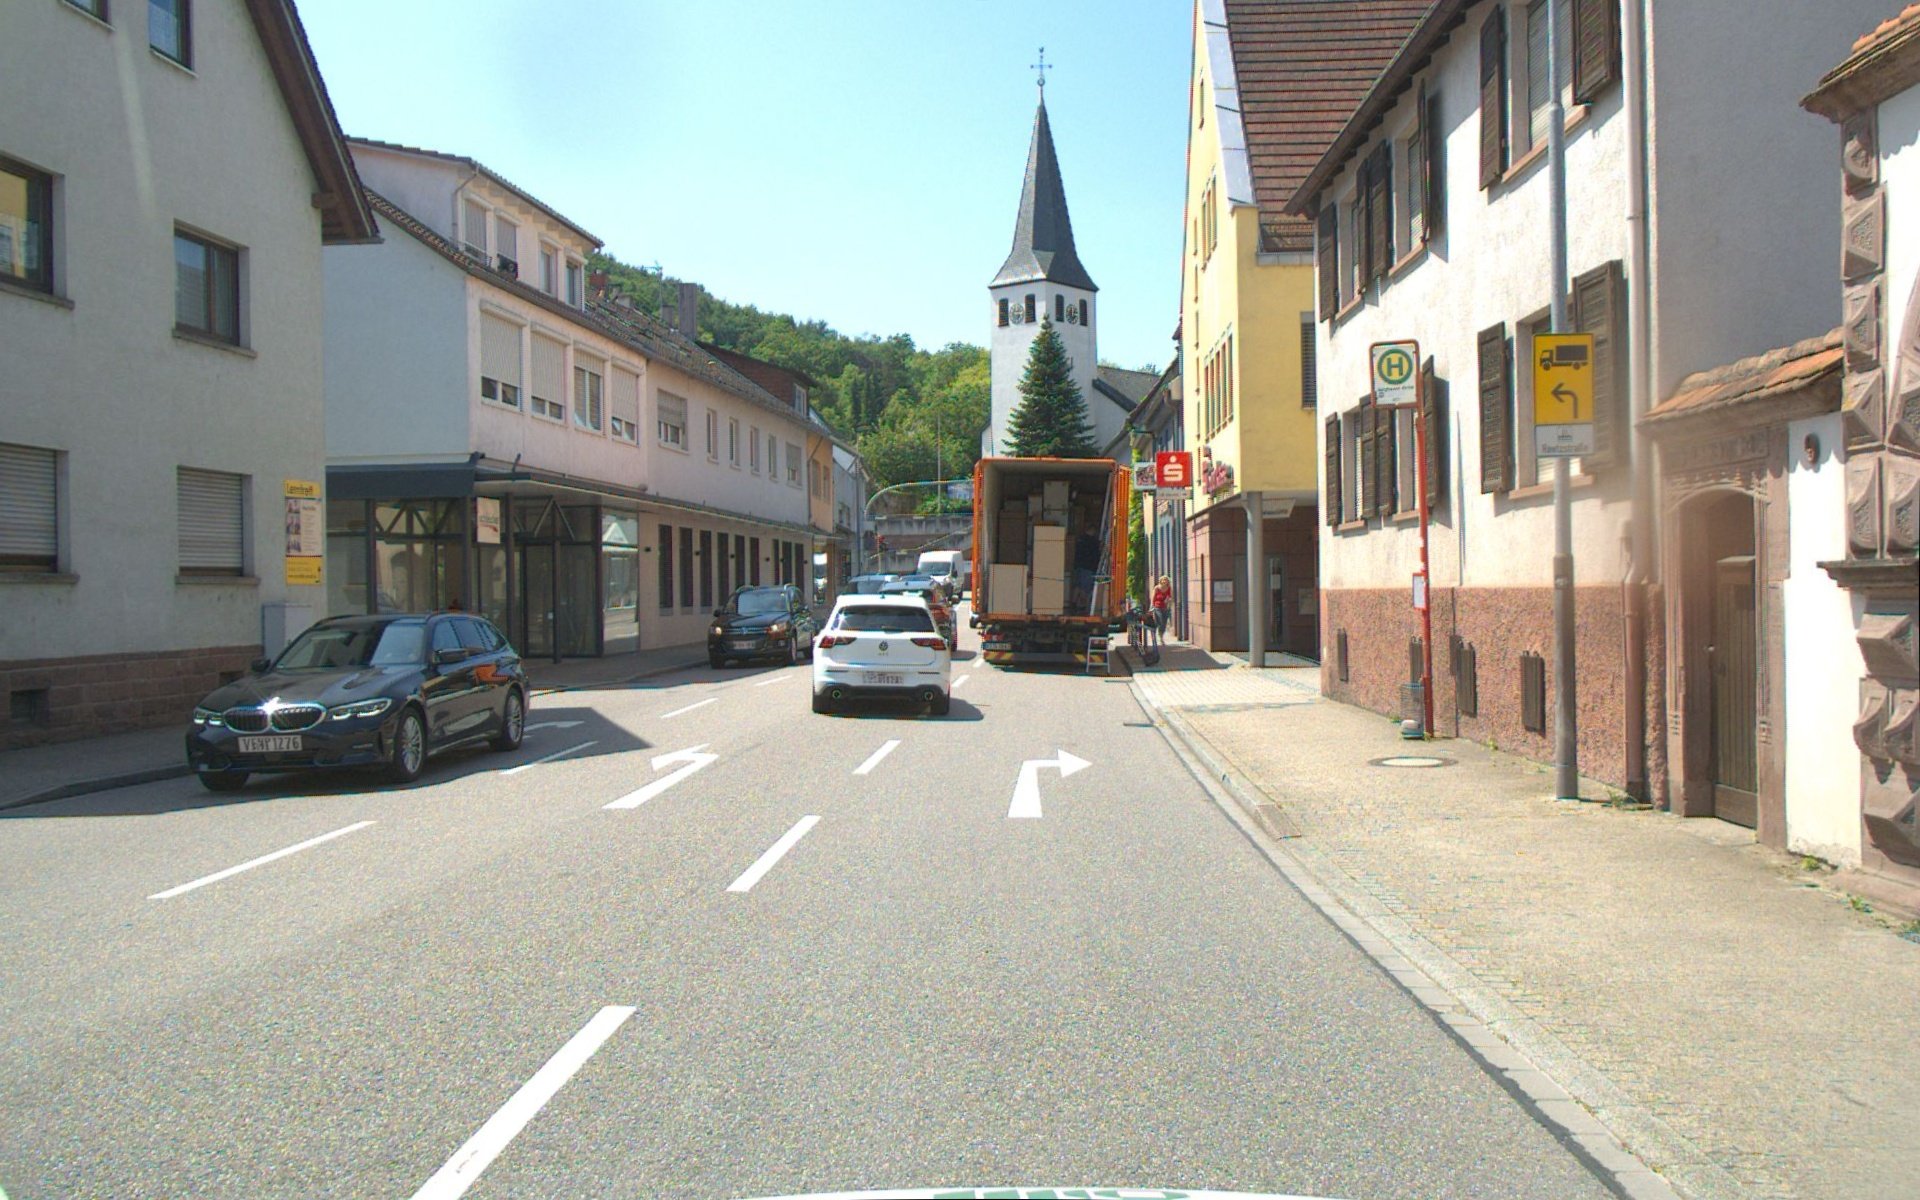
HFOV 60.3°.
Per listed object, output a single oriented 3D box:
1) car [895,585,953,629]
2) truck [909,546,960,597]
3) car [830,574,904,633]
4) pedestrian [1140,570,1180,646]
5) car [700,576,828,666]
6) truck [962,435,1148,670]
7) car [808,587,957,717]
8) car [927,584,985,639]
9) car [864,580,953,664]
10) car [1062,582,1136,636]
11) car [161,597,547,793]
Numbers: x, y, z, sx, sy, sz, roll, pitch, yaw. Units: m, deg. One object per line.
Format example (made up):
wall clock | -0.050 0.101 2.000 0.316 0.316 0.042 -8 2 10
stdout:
car | -1.465 0.286 68.767 1.951 1.680 4.002 -2 0 5
truck | -1.318 -1.471 88.078 2.073 2.517 5.739 -2 0 5
car | -3.025 0.067 54.815 1.763 1.811 4.708 -2 1 4
pedestrian | 4.824 0.191 39.905 0.753 1.773 0.870 -2 -1 -3
car | -4.143 0.397 35.540 1.655 1.728 4.116 -2 1 8
truck | 1.861 -0.851 35.421 3.297 4.243 9.520 -2 0 1
car | -0.958 0.634 21.740 1.778 1.545 3.999 0 -1 -1
car | -0.160 0.391 53.842 1.778 1.657 3.999 -2 0 -1
car | -1.107 0.473 36.191 1.778 1.657 3.999 -2 0 -1
car | 4.213 0.282 50.651 1.778 1.545 3.999 -2 0 -1
car | -5.435 0.777 15.520 1.756 1.519 4.423 -2 0 3
